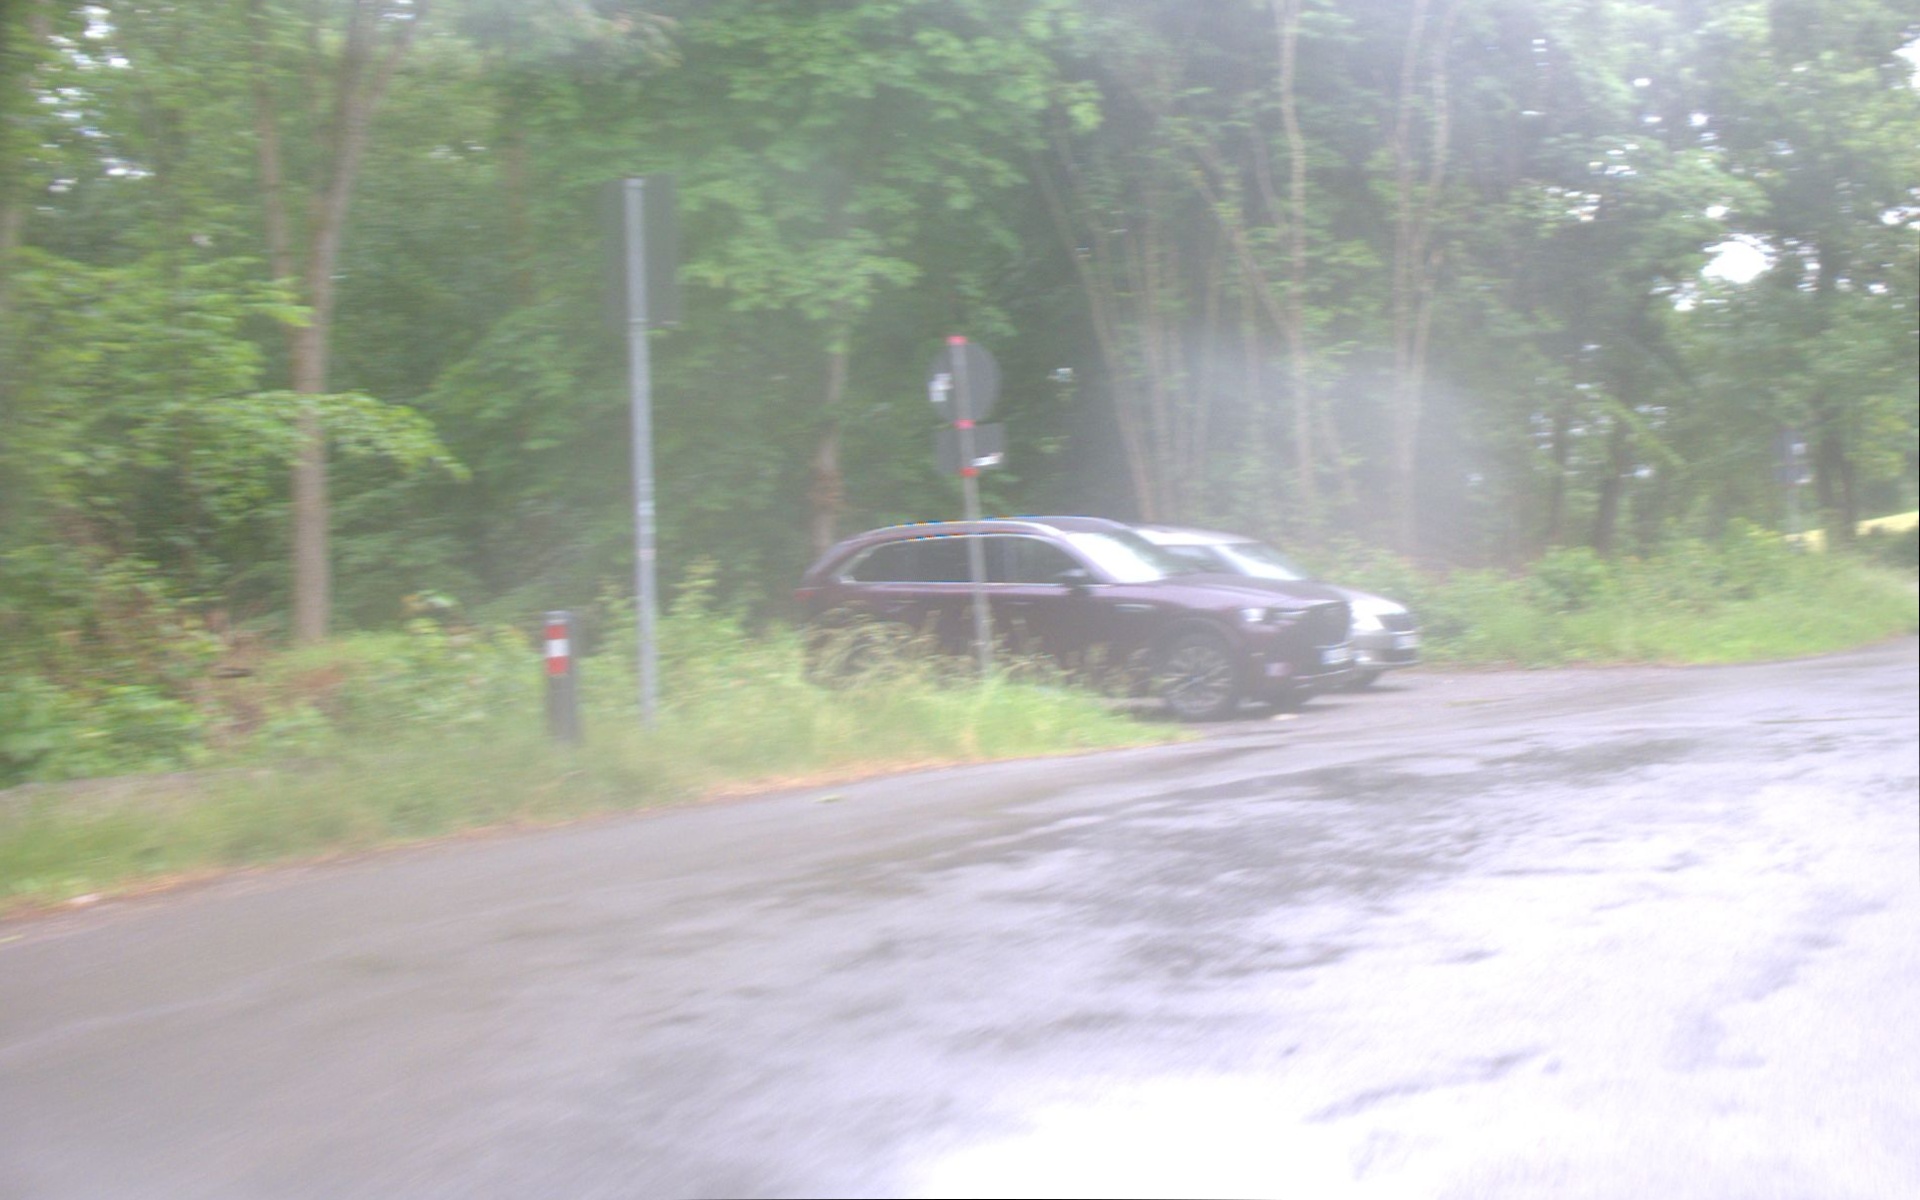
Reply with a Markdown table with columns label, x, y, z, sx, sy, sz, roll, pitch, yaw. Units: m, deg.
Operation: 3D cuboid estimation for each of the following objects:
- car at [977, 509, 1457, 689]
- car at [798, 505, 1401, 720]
| label | x | y | z | sx | sy | sz | roll | pitch | yaw |
| --- | --- | --- | --- | --- | --- | --- | --- | --- | --- |
| car | 2.416 | 0.001 | 32.601 | 4.143 | 1.549 | 1.771 | -1 | 2 | 32 |
| car | 1.166 | 0.120 | 29.639 | 4.833 | 1.671 | 1.873 | -1 | 2 | 31 |
